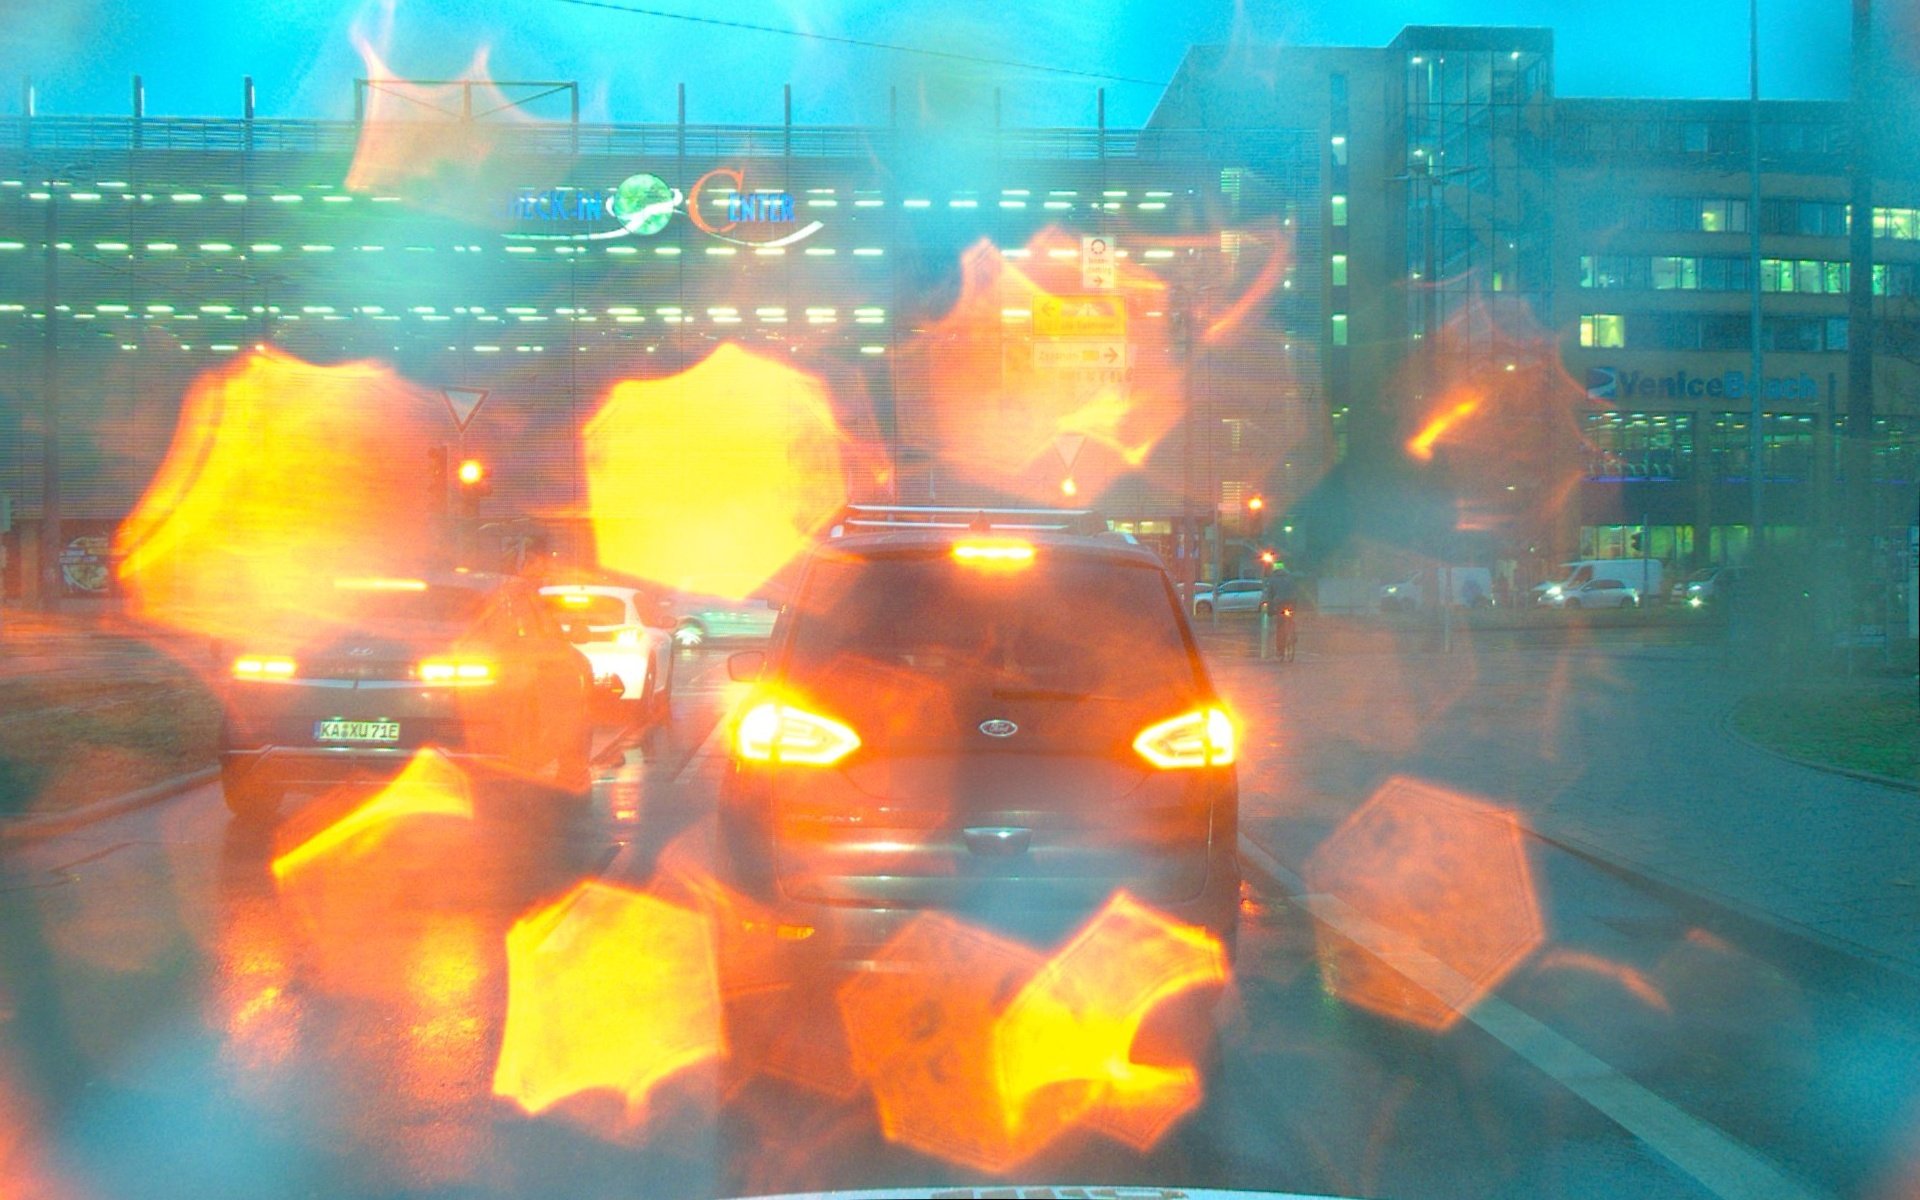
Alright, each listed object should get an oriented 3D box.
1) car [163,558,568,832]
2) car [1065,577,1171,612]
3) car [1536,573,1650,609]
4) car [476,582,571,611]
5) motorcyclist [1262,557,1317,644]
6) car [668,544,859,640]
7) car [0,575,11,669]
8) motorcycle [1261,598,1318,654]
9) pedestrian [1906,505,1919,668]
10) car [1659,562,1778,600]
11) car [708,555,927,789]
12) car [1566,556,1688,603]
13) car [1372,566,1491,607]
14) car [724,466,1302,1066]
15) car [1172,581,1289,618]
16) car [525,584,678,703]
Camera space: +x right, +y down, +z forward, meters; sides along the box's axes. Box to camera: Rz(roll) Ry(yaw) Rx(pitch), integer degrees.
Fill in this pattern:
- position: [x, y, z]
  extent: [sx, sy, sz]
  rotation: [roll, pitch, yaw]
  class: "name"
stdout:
- position: [-3.970, 0.544, 11.755]
  extent: [1.718, 1.601, 3.996]
  rotation: [0, 0, -5]
  class: "car"
- position: [6.597, -0.250, 69.376]
  extent: [4.136, 1.414, 1.797]
  rotation: [-1, 0, -8]
  class: "car"
- position: [26.459, -0.380, 69.214]
  extent: [4.136, 1.414, 1.797]
  rotation: [-1, 0, -8]
  class: "car"
- position: [-18.475, -0.136, 70.148]
  extent: [3.687, 1.186, 1.678]
  rotation: [-1, 0, -6]
  class: "car"
- position: [6.011, 0.011, 30.245]
  extent: [0.850, 1.561, 1.109]
  rotation: [0, 0, 5]
  class: "motorcyclist"
- position: [-4.274, -0.200, 35.807]
  extent: [3.917, 1.907, 1.994]
  rotation: [-2, 1, -12]
  class: "car"
- position: [-21.502, 0.469, 32.484]
  extent: [4.585, 1.883, 1.827]
  rotation: [-1, 0, -11]
  class: "car"
- position: [6.015, 0.464, 30.277]
  extent: [0.835, 0.989, 1.582]
  rotation: [0, 0, 5]
  class: "motorcycle"
- position: [12.166, -0.149, 19.943]
  extent: [1.146, 1.957, 0.898]
  rotation: [2, 1, 22]
  class: "pedestrian"
- position: [32.330, -0.828, 70.498]
  extent: [4.348, 1.561, 1.797]
  rotation: [-1, 0, -8]
  class: "car"
- position: [-1.223, 0.536, 14.137]
  extent: [1.604, 1.726, 3.667]
  rotation: [1, 0, -5]
  class: "car"
- position: [29.512, -0.913, 73.251]
  extent: [4.748, 2.035, 1.797]
  rotation: [-1, 0, -8]
  class: "car"
- position: [19.298, -0.537, 67.761]
  extent: [4.336, 1.623, 1.797]
  rotation: [-1, 0, -8]
  class: "car"
- position: [0.055, 0.491, 7.126]
  extent: [1.700, 1.768, 4.244]
  rotation: [2, 0, -3]
  class: "car"
- position: [10.940, -0.037, 67.013]
  extent: [4.336, 1.414, 1.797]
  rotation: [-1, 0, -8]
  class: "car"
- position: [-4.200, 0.458, 19.829]
  extent: [1.512, 1.273, 4.060]
  rotation: [0, 0, -8]
  class: "car"
